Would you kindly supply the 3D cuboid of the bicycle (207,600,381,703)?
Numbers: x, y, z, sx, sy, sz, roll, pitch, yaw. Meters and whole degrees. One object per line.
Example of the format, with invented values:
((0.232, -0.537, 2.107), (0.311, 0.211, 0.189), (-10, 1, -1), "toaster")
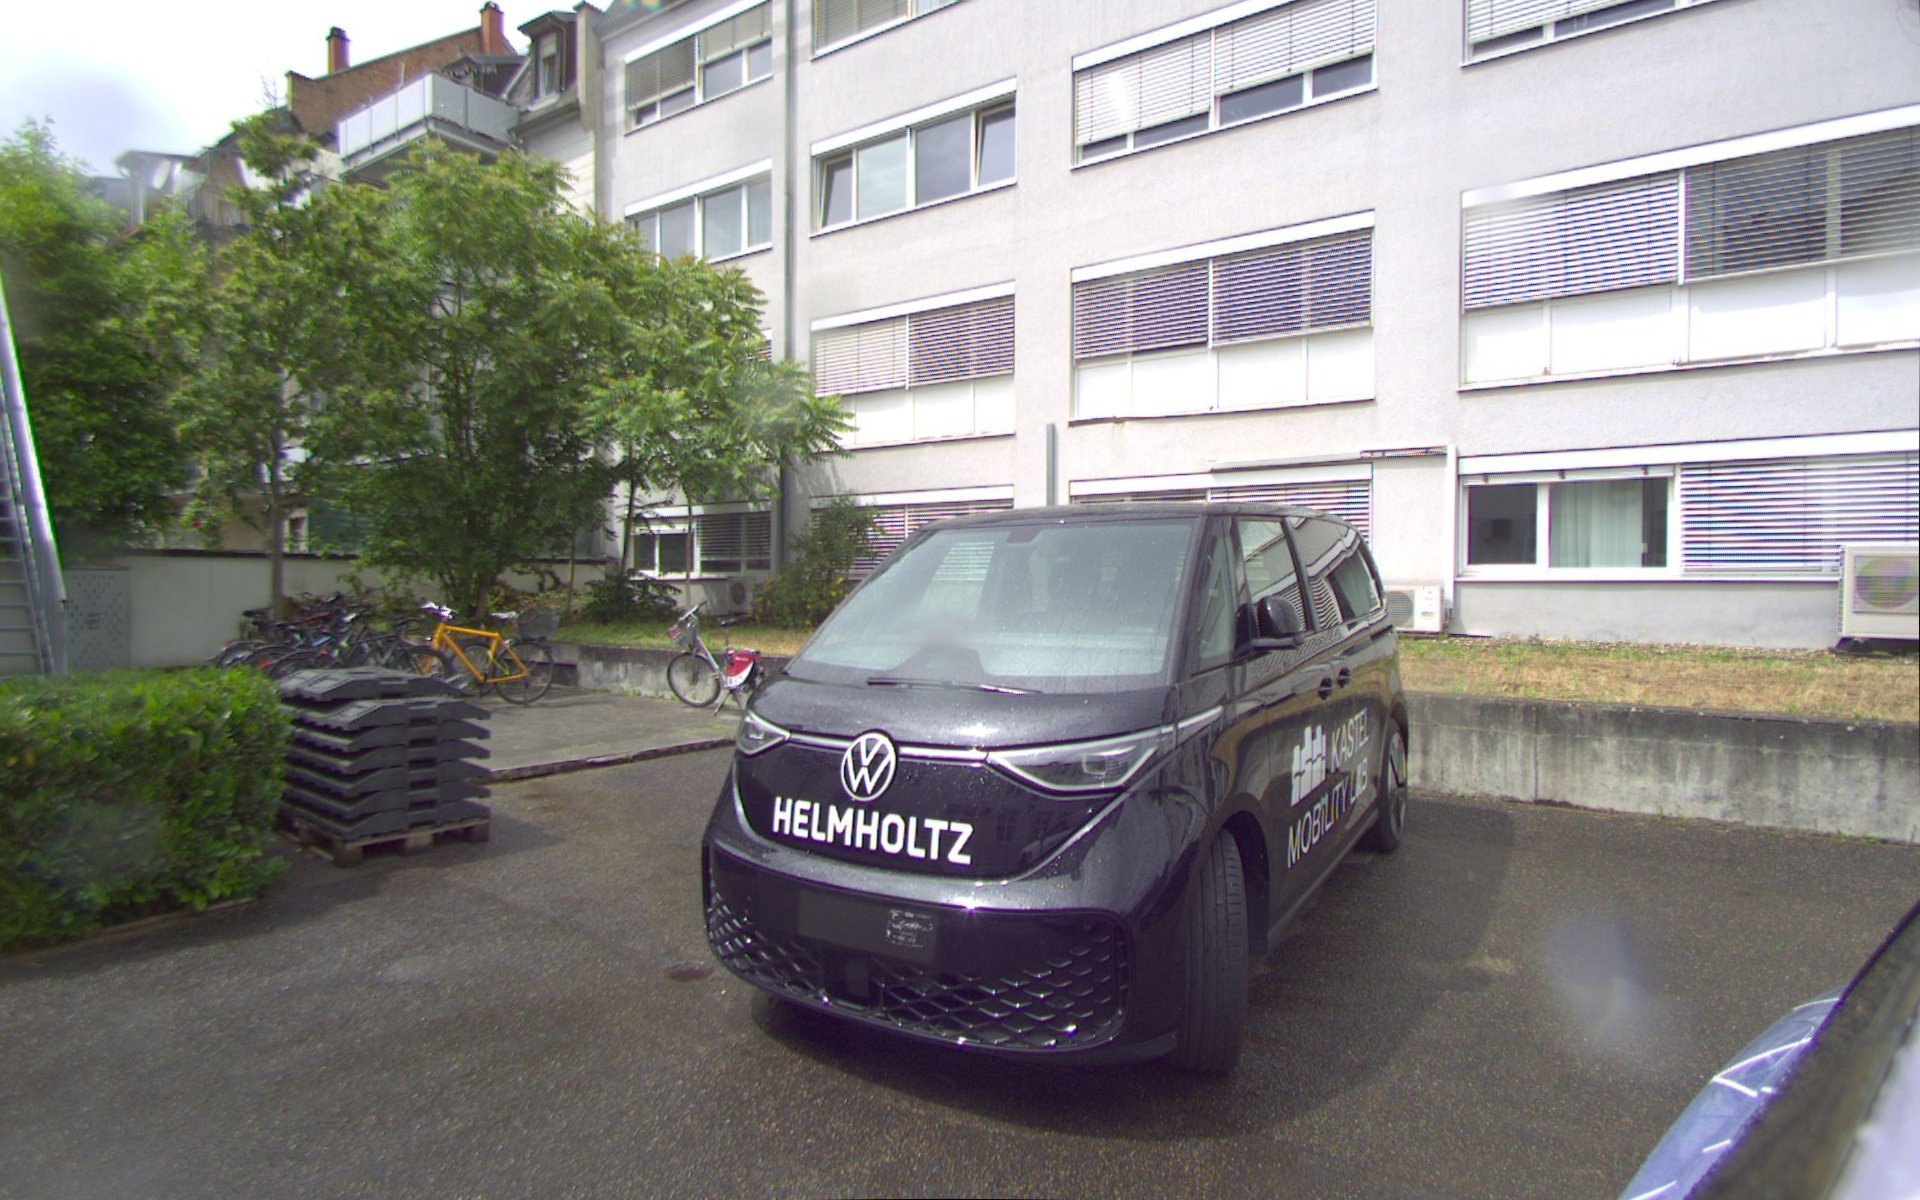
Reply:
((-7.879, 0.571, 12.057), (0.352, 1.118, 1.734), (1, 1, 34), "bicycle")

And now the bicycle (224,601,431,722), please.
((-6.422, 0.583, 10.363), (0.353, 1.118, 1.769), (1, 1, 41), "bicycle")

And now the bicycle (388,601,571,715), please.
((-5.105, 0.579, 10.848), (0.365, 1.118, 1.769), (1, 1, 41), "bicycle")

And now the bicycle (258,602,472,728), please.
((-5.764, 0.585, 9.899), (0.404, 1.118, 1.769), (1, 1, 41), "bicycle")

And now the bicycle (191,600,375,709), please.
((-7.636, 0.576, 11.499), (0.343, 1.118, 1.734), (1, 1, 34), "bicycle")

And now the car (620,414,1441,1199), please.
((0.929, 0.434, 4.893), (1.956, 1.888, 4.693), (0, 2, 33), "car")

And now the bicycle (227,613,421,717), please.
((-6.712, 0.649, 10.775), (0.327, 0.979, 1.775), (1, 1, 34), "bicycle")

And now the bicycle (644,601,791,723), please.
((-2.539, 0.600, 10.489), (1.787, 1.117, 0.441), (1, 3, 38), "bicycle")

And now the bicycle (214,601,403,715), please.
((-6.998, 0.580, 10.960), (0.330, 1.118, 1.734), (1, 1, 34), "bicycle")

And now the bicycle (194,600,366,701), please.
((-8.192, 0.570, 12.266), (0.339, 1.118, 1.734), (1, 1, 34), "bicycle")

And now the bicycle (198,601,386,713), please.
((-7.299, 0.580, 11.151), (0.340, 1.118, 1.734), (1, 1, 34), "bicycle")
